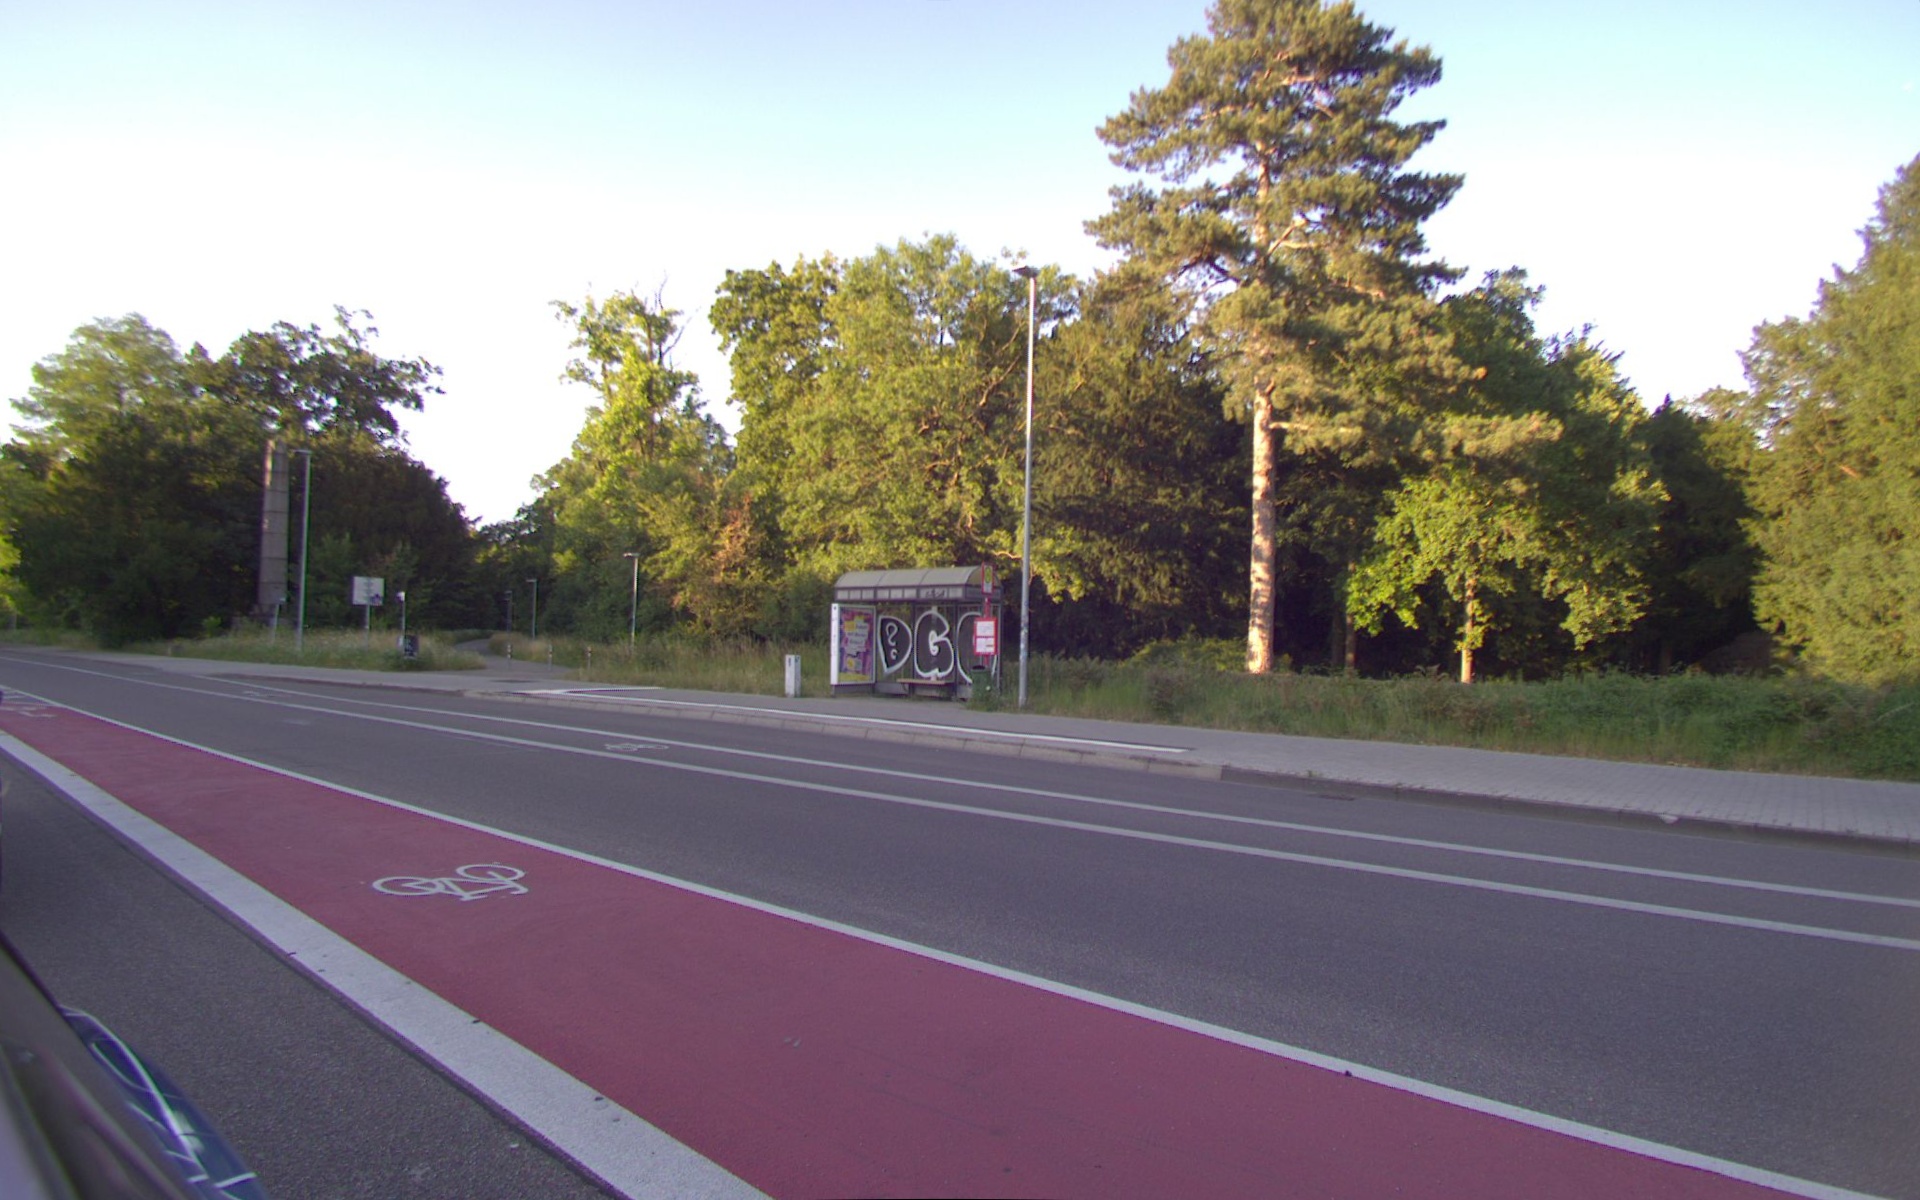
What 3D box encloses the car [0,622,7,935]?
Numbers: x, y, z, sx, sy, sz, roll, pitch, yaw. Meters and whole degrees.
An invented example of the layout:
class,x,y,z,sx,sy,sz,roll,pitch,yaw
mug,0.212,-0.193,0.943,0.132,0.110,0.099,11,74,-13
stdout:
class,x,y,z,sx,sy,sz,roll,pitch,yaw
car,-6.877,0.855,5.588,5.210,1.410,1.795,-1,0,40
